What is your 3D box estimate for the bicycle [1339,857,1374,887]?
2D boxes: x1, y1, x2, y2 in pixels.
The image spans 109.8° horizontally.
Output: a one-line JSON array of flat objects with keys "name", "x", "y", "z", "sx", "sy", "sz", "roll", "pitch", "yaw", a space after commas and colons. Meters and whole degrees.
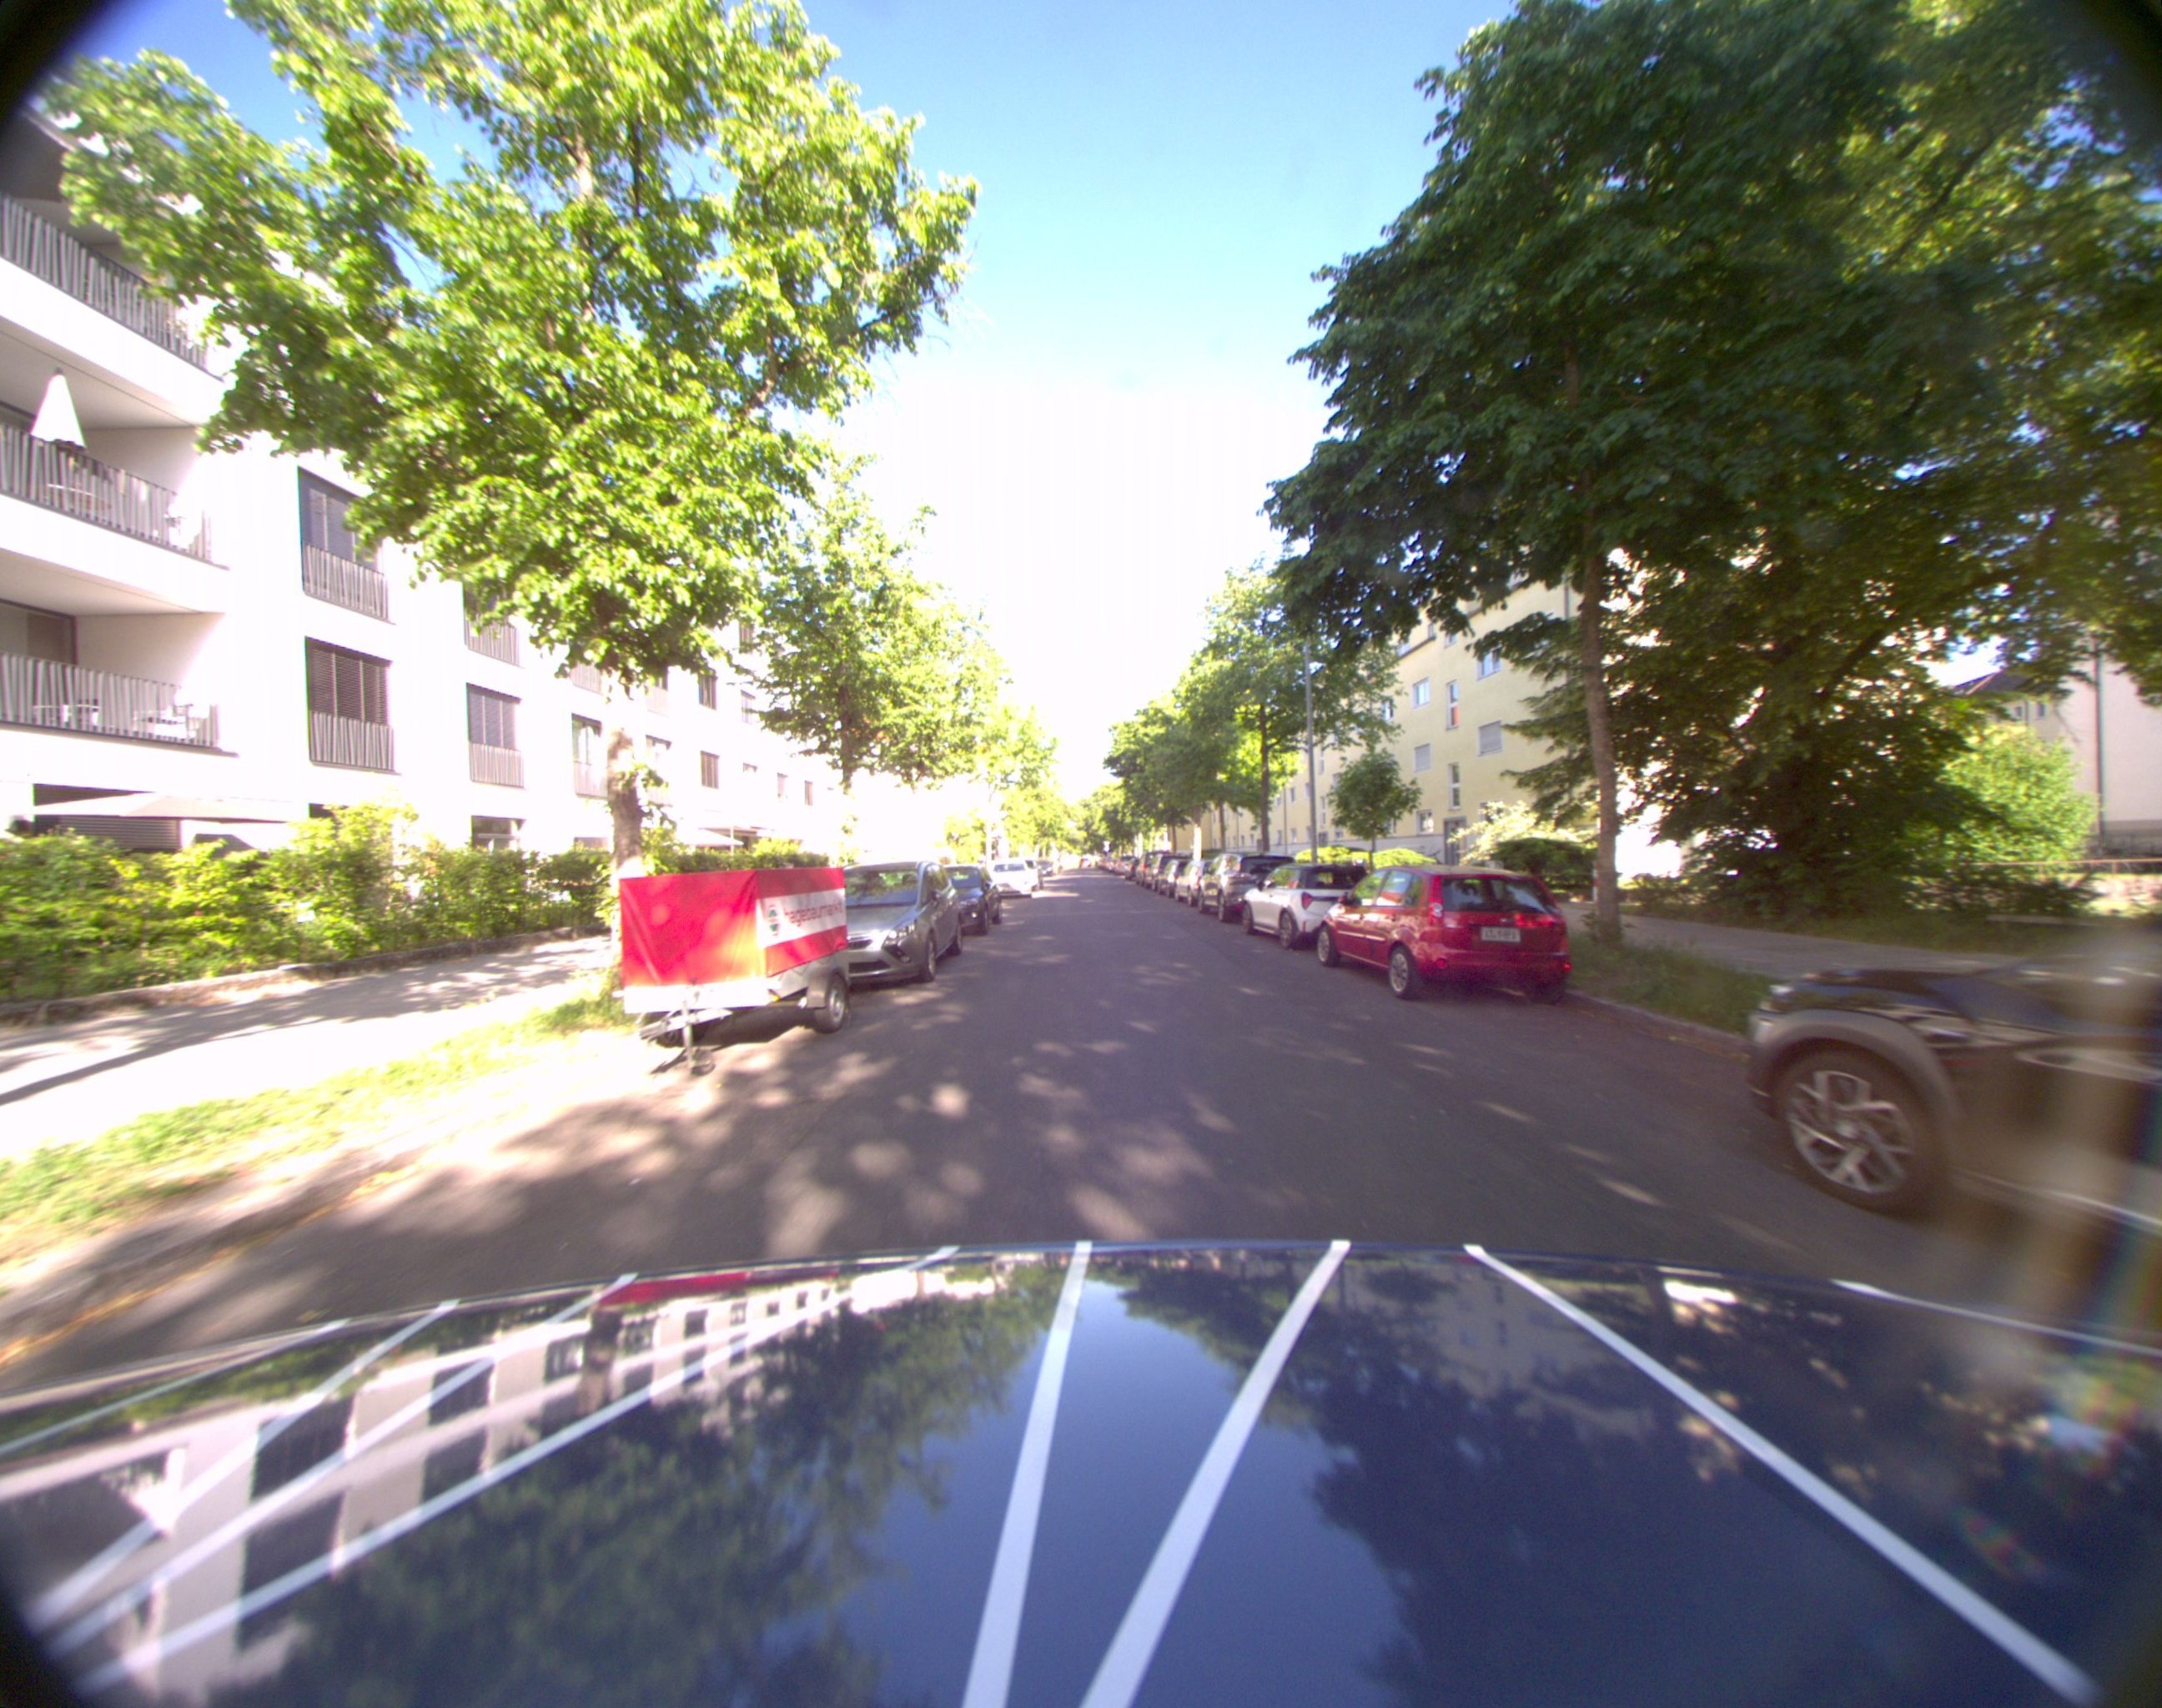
[{"name": "bicycle", "x": 10.327, "y": 0.672, "z": 28.509, "sx": 0.573, "sy": 1.055, "sz": 1.933, "roll": -2, "pitch": 0, "yaw": 0}]

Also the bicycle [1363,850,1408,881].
[{"name": "bicycle", "x": 12.884, "y": 0.477, "z": 32.144, "sx": 1.639, "sy": 1.218, "sz": 0.590, "roll": -2, "pitch": 1, "yaw": 0}]

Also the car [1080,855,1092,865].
[{"name": "car", "x": 0.714, "y": 0.867, "z": 112.871, "sx": 1.665, "sy": 1.456, "sz": 3.447, "roll": -1, "pitch": 0, "yaw": 1}]

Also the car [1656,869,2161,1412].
[{"name": "car", "x": 4.095, "y": 0.884, "z": 2.057, "sx": 1.710, "sy": 1.568, "sz": 4.481, "roll": -1, "pitch": 0, "yaw": 0}]

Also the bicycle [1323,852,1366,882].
[{"name": "bicycle", "x": 11.135, "y": 0.547, "z": 32.165, "sx": 1.640, "sy": 1.218, "sz": 0.517, "roll": -2, "pitch": 1, "yaw": -10}]

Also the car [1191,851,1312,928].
[{"name": "car", "x": 4.094, "y": 0.769, "z": 19.148, "sx": 1.846, "sy": 1.647, "sz": 5.087, "roll": -1, "pitch": 0, "yaw": -1}]

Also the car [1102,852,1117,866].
[{"name": "car", "x": 3.678, "y": 0.667, "z": 98.455, "sx": 1.713, "sy": 1.752, "sz": 3.712, "roll": -2, "pitch": 1, "yaw": -1}]

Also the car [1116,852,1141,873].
[{"name": "car", "x": 3.935, "y": 0.688, "z": 62.965, "sx": 1.864, "sy": 1.718, "sz": 4.000, "roll": 0, "pitch": 0, "yaw": 1}]

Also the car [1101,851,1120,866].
[{"name": "car", "x": 3.560, "y": 0.564, "z": 93.544, "sx": 1.891, "sy": 1.797, "sz": 3.913, "roll": -2, "pitch": 0, "yaw": -4}]

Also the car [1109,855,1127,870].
[{"name": "car", "x": 3.686, "y": 0.862, "z": 76.650, "sx": 1.606, "sy": 1.382, "sz": 3.811, "roll": -2, "pitch": 0, "yaw": -1}]

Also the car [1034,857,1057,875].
[{"name": "car", "x": -3.014, "y": 1.013, "z": 64.745, "sx": 1.670, "sy": 1.456, "sz": 3.536, "roll": -1, "pitch": 0, "yaw": 1}]

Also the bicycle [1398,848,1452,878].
[{"name": "bicycle", "x": 14.709, "y": 0.384, "z": 32.494, "sx": 1.957, "sy": 1.218, "sz": 0.777, "roll": -2, "pitch": 1, "yaw": -3}]

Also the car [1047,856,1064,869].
[{"name": "car", "x": -2.806, "y": 0.937, "z": 84.858, "sx": 1.670, "sy": 1.456, "sz": 3.536, "roll": -1, "pitch": 0, "yaw": 1}]

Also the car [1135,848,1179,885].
[{"name": "car", "x": 3.978, "y": 0.618, "z": 40.497, "sx": 1.798, "sy": 1.839, "sz": 4.866, "roll": -1, "pitch": 0, "yaw": 0}]

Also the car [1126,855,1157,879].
[{"name": "car", "x": 4.021, "y": 0.842, "z": 51.187, "sx": 1.780, "sy": 1.462, "sz": 4.063, "roll": 1, "pitch": 0, "yaw": 0}]

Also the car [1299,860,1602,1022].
[{"name": "car", "x": 4.157, "y": 0.856, "z": 9.364, "sx": 1.658, "sy": 1.496, "sz": 4.068, "roll": -1, "pitch": 0, "yaw": -2}]

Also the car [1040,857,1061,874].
[{"name": "car", "x": -2.783, "y": 1.006, "z": 69.527, "sx": 1.670, "sy": 1.456, "sz": 3.536, "roll": -1, "pitch": 0, "yaw": 1}]

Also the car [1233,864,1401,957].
[{"name": "car", "x": 4.081, "y": 0.904, "z": 13.871, "sx": 1.658, "sy": 1.365, "sz": 4.188, "roll": -1, "pitch": 0, "yaw": -2}]

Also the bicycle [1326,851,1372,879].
[{"name": "bicycle", "x": 12.113, "y": 0.492, "z": 34.373, "sx": 1.826, "sy": 1.218, "sz": 0.517, "roll": -2, "pitch": 1, "yaw": 1}]

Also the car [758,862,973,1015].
[{"name": "car", "x": -2.880, "y": 1.019, "z": 11.372, "sx": 1.797, "sy": 1.633, "sz": 4.818, "roll": -4, "pitch": 0, "yaw": -1}]

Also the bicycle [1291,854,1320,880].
[{"name": "bicycle", "x": 10.367, "y": 0.577, "z": 35.165, "sx": 0.596, "sy": 1.183, "sz": 2.260, "roll": -1, "pitch": 0, "yaw": -2}]

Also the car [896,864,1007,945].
[{"name": "car", "x": -2.839, "y": 1.056, "z": 17.549, "sx": 1.722, "sy": 1.507, "sz": 4.344, "roll": -2, "pitch": 0, "yaw": 0}]

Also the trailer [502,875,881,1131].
[{"name": "trailer", "x": -3.087, "y": 1.065, "z": 6.798, "sx": 1.578, "sy": 1.569, "sz": 3.192, "roll": -4, "pitch": 0, "yaw": 2}]

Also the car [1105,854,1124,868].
[{"name": "car", "x": 3.894, "y": 0.812, "z": 88.112, "sx": 1.805, "sy": 1.470, "sz": 3.999, "roll": -2, "pitch": 0, "yaw": -3}]

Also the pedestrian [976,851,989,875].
[{"name": "pedestrian", "x": -8.049, "y": 0.725, "z": 62.073, "sx": 0.907, "sy": 2.002, "sz": 1.006, "roll": -1, "pitch": 1, "yaw": 0}]

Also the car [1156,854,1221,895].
[{"name": "car", "x": 4.064, "y": 0.743, "z": 29.473, "sx": 1.798, "sy": 1.443, "sz": 4.488, "roll": -1, "pitch": 0, "yaw": -1}]

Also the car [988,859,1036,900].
[{"name": "car", "x": -2.864, "y": 1.002, "z": 31.918, "sx": 1.786, "sy": 1.509, "sz": 4.685, "roll": -2, "pitch": 0, "yaw": -4}]

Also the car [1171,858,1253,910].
[{"name": "car", "x": 4.098, "y": 0.890, "z": 24.452, "sx": 1.711, "sy": 1.472, "sz": 4.489, "roll": -1, "pitch": 0, "yaw": -2}]

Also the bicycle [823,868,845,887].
[{"name": "bicycle", "x": -12.728, "y": 1.202, "z": 39.186, "sx": 0.564, "sy": 0.889, "sz": 1.609, "roll": -2, "pitch": 0, "yaw": 0}]

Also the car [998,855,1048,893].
[{"name": "car", "x": -2.784, "y": 0.935, "z": 37.708, "sx": 1.902, "sy": 1.638, "sz": 4.862, "roll": -2, "pitch": 0, "yaw": 2}]

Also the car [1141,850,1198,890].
[{"name": "car", "x": 4.015, "y": 0.685, "z": 35.175, "sx": 1.798, "sy": 1.676, "sz": 4.525, "roll": -1, "pitch": 0, "yaw": -4}]

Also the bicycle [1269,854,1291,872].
[{"name": "bicycle", "x": 10.795, "y": 0.475, "z": 41.254, "sx": 0.596, "sy": 0.911, "sz": 1.903, "roll": -1, "pitch": 0, "yaw": -2}]
